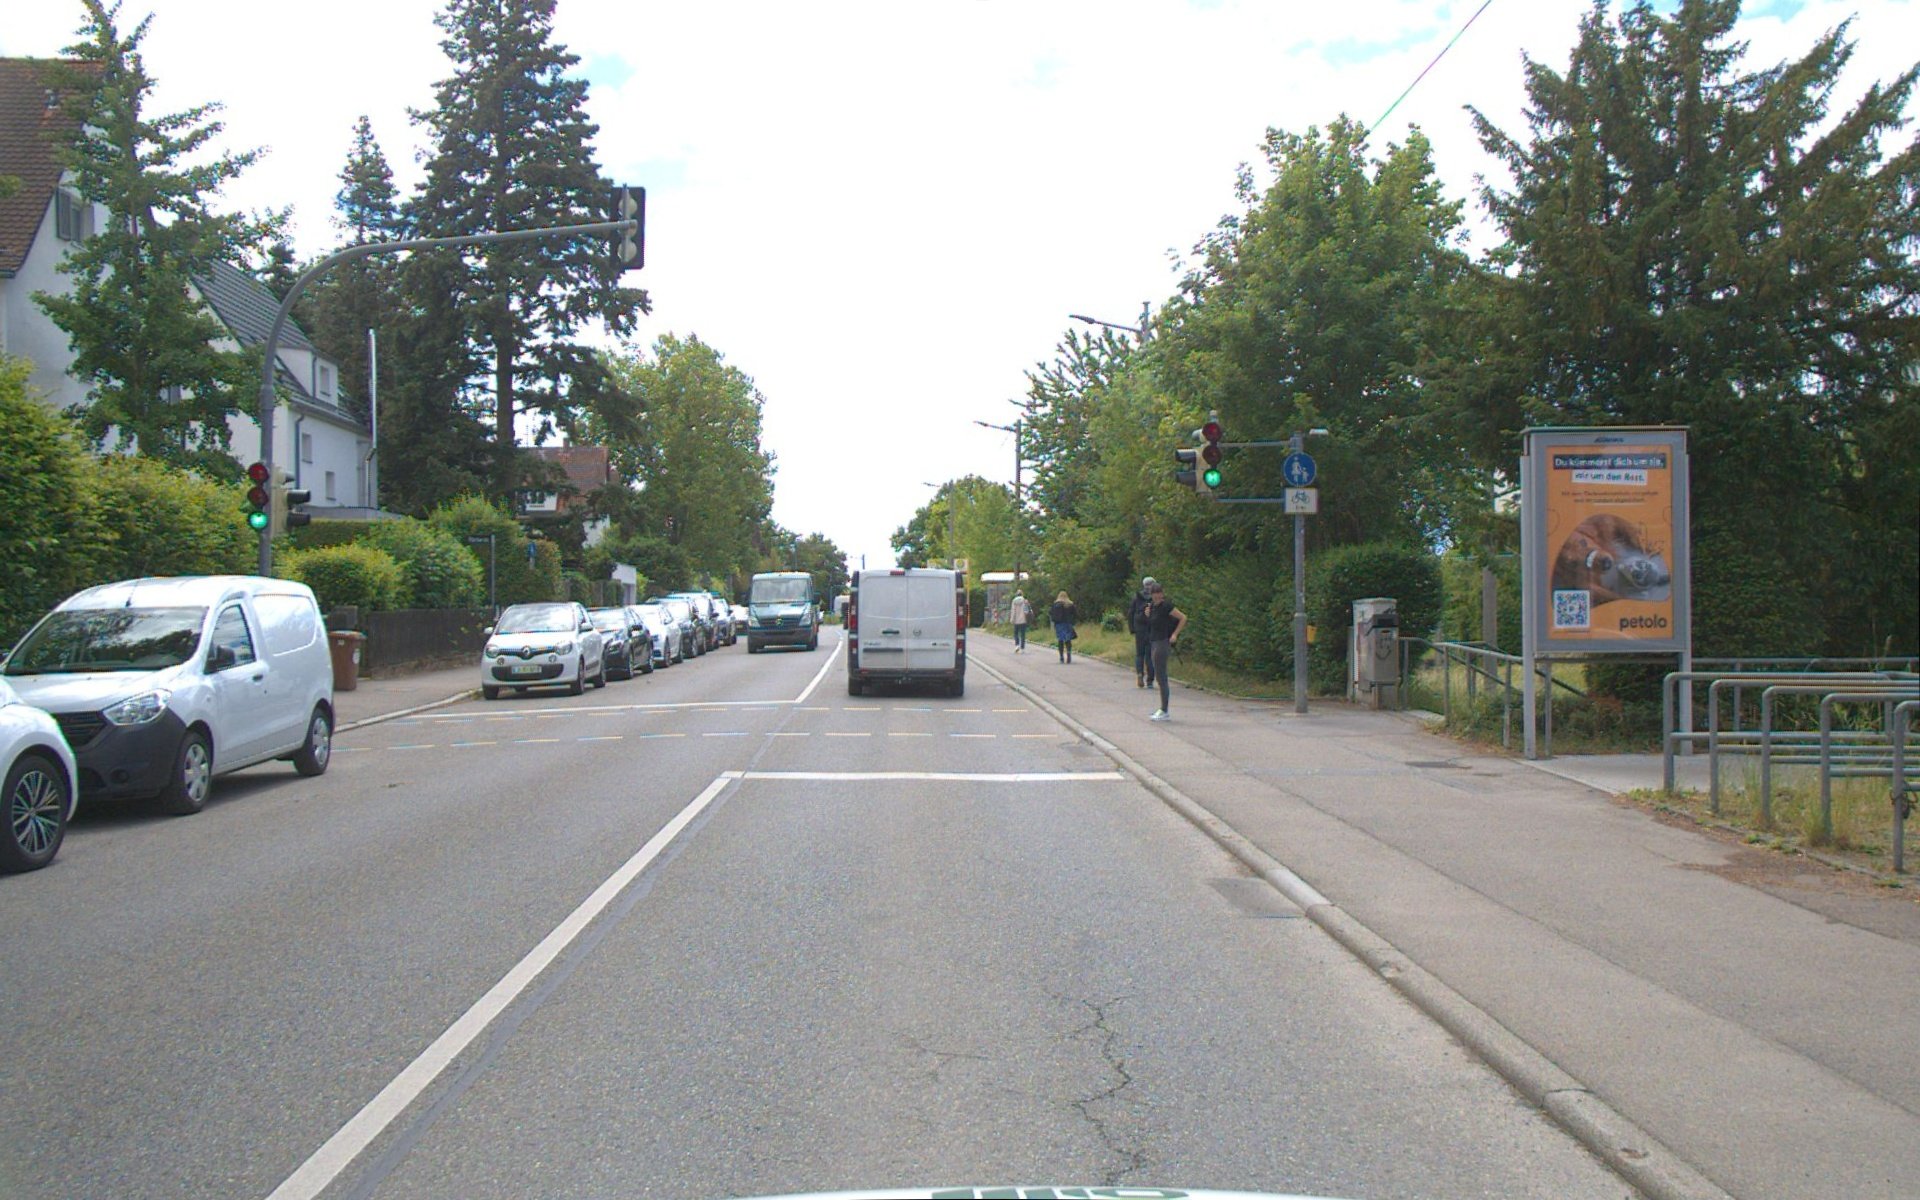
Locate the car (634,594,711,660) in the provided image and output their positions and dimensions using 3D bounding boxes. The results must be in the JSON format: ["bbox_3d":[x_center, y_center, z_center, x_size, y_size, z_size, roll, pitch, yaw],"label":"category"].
[{"bbox_3d":[-8.062,0.713,46.657,1.594,1.707,4.580,-3,0,-4],"label":"car"}]

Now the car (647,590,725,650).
[{"bbox_3d":[-8.672,0.624,52.654,2.026,1.785,4.878,1,0,-5],"label":"car"}]

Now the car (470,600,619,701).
[{"bbox_3d":[-7.148,0.825,28.776,1.668,1.570,3.741,-2,0,-1],"label":"car"}]

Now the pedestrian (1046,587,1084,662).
[{"bbox_3d":[2.422,0.557,38.133,0.822,1.688,0.766,1,-1,1],"label":"pedestrian"}]

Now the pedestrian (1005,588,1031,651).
[{"bbox_3d":[1.574,0.539,44.964,0.672,1.688,0.690,1,-1,1],"label":"pedestrian"}]

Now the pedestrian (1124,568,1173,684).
[{"bbox_3d":[3.161,0.433,27.786,0.729,1.916,0.801,1,-1,3],"label":"pedestrian"}]

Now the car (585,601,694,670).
[{"bbox_3d":[-7.706,0.810,40.207,1.769,1.484,5.067,-2,0,-2],"label":"car"}]

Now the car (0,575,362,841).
[{"bbox_3d":[-6.513,0.742,13.660,1.643,1.789,4.605,-2,0,-3],"label":"car"}]

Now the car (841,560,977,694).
[{"bbox_3d":[-0.939,0.413,27.284,1.994,1.979,4.989,1,0,-4],"label":"car"}]

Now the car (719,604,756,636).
[{"bbox_3d":[-10.708,0.944,79.467,1.620,1.452,3.898,-2,0,-9],"label":"car"}]

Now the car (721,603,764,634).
[{"bbox_3d":[-11.046,0.940,84.370,1.830,1.485,4.485,-1,0,-3],"label":"car"}]

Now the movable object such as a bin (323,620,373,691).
[{"bbox_3d":[-9.914,0.890,26.795,0.505,1.099,0.748,3,0,-2],"label":"movable object such as a bin"}]

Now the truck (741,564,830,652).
[{"bbox_3d":[-5.226,0.203,50.299,2.145,2.413,6.902,-2,0,-2],"label":"truck"}]

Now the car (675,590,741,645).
[{"bbox_3d":[-8.895,0.595,58.734,1.946,1.851,4.704,0,0,-4],"label":"car"}]

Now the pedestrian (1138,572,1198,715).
[{"bbox_3d":[2.519,0.516,20.080,0.634,1.693,0.708,1,-1,2],"label":"pedestrian"}]

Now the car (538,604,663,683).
[{"bbox_3d":[-7.380,0.854,34.306,1.707,1.435,4.322,-2,0,-1],"label":"car"}]

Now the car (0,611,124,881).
[{"bbox_3d":[-6.189,0.870,8.266,1.670,1.478,4.358,-3,0,1],"label":"car"}]
